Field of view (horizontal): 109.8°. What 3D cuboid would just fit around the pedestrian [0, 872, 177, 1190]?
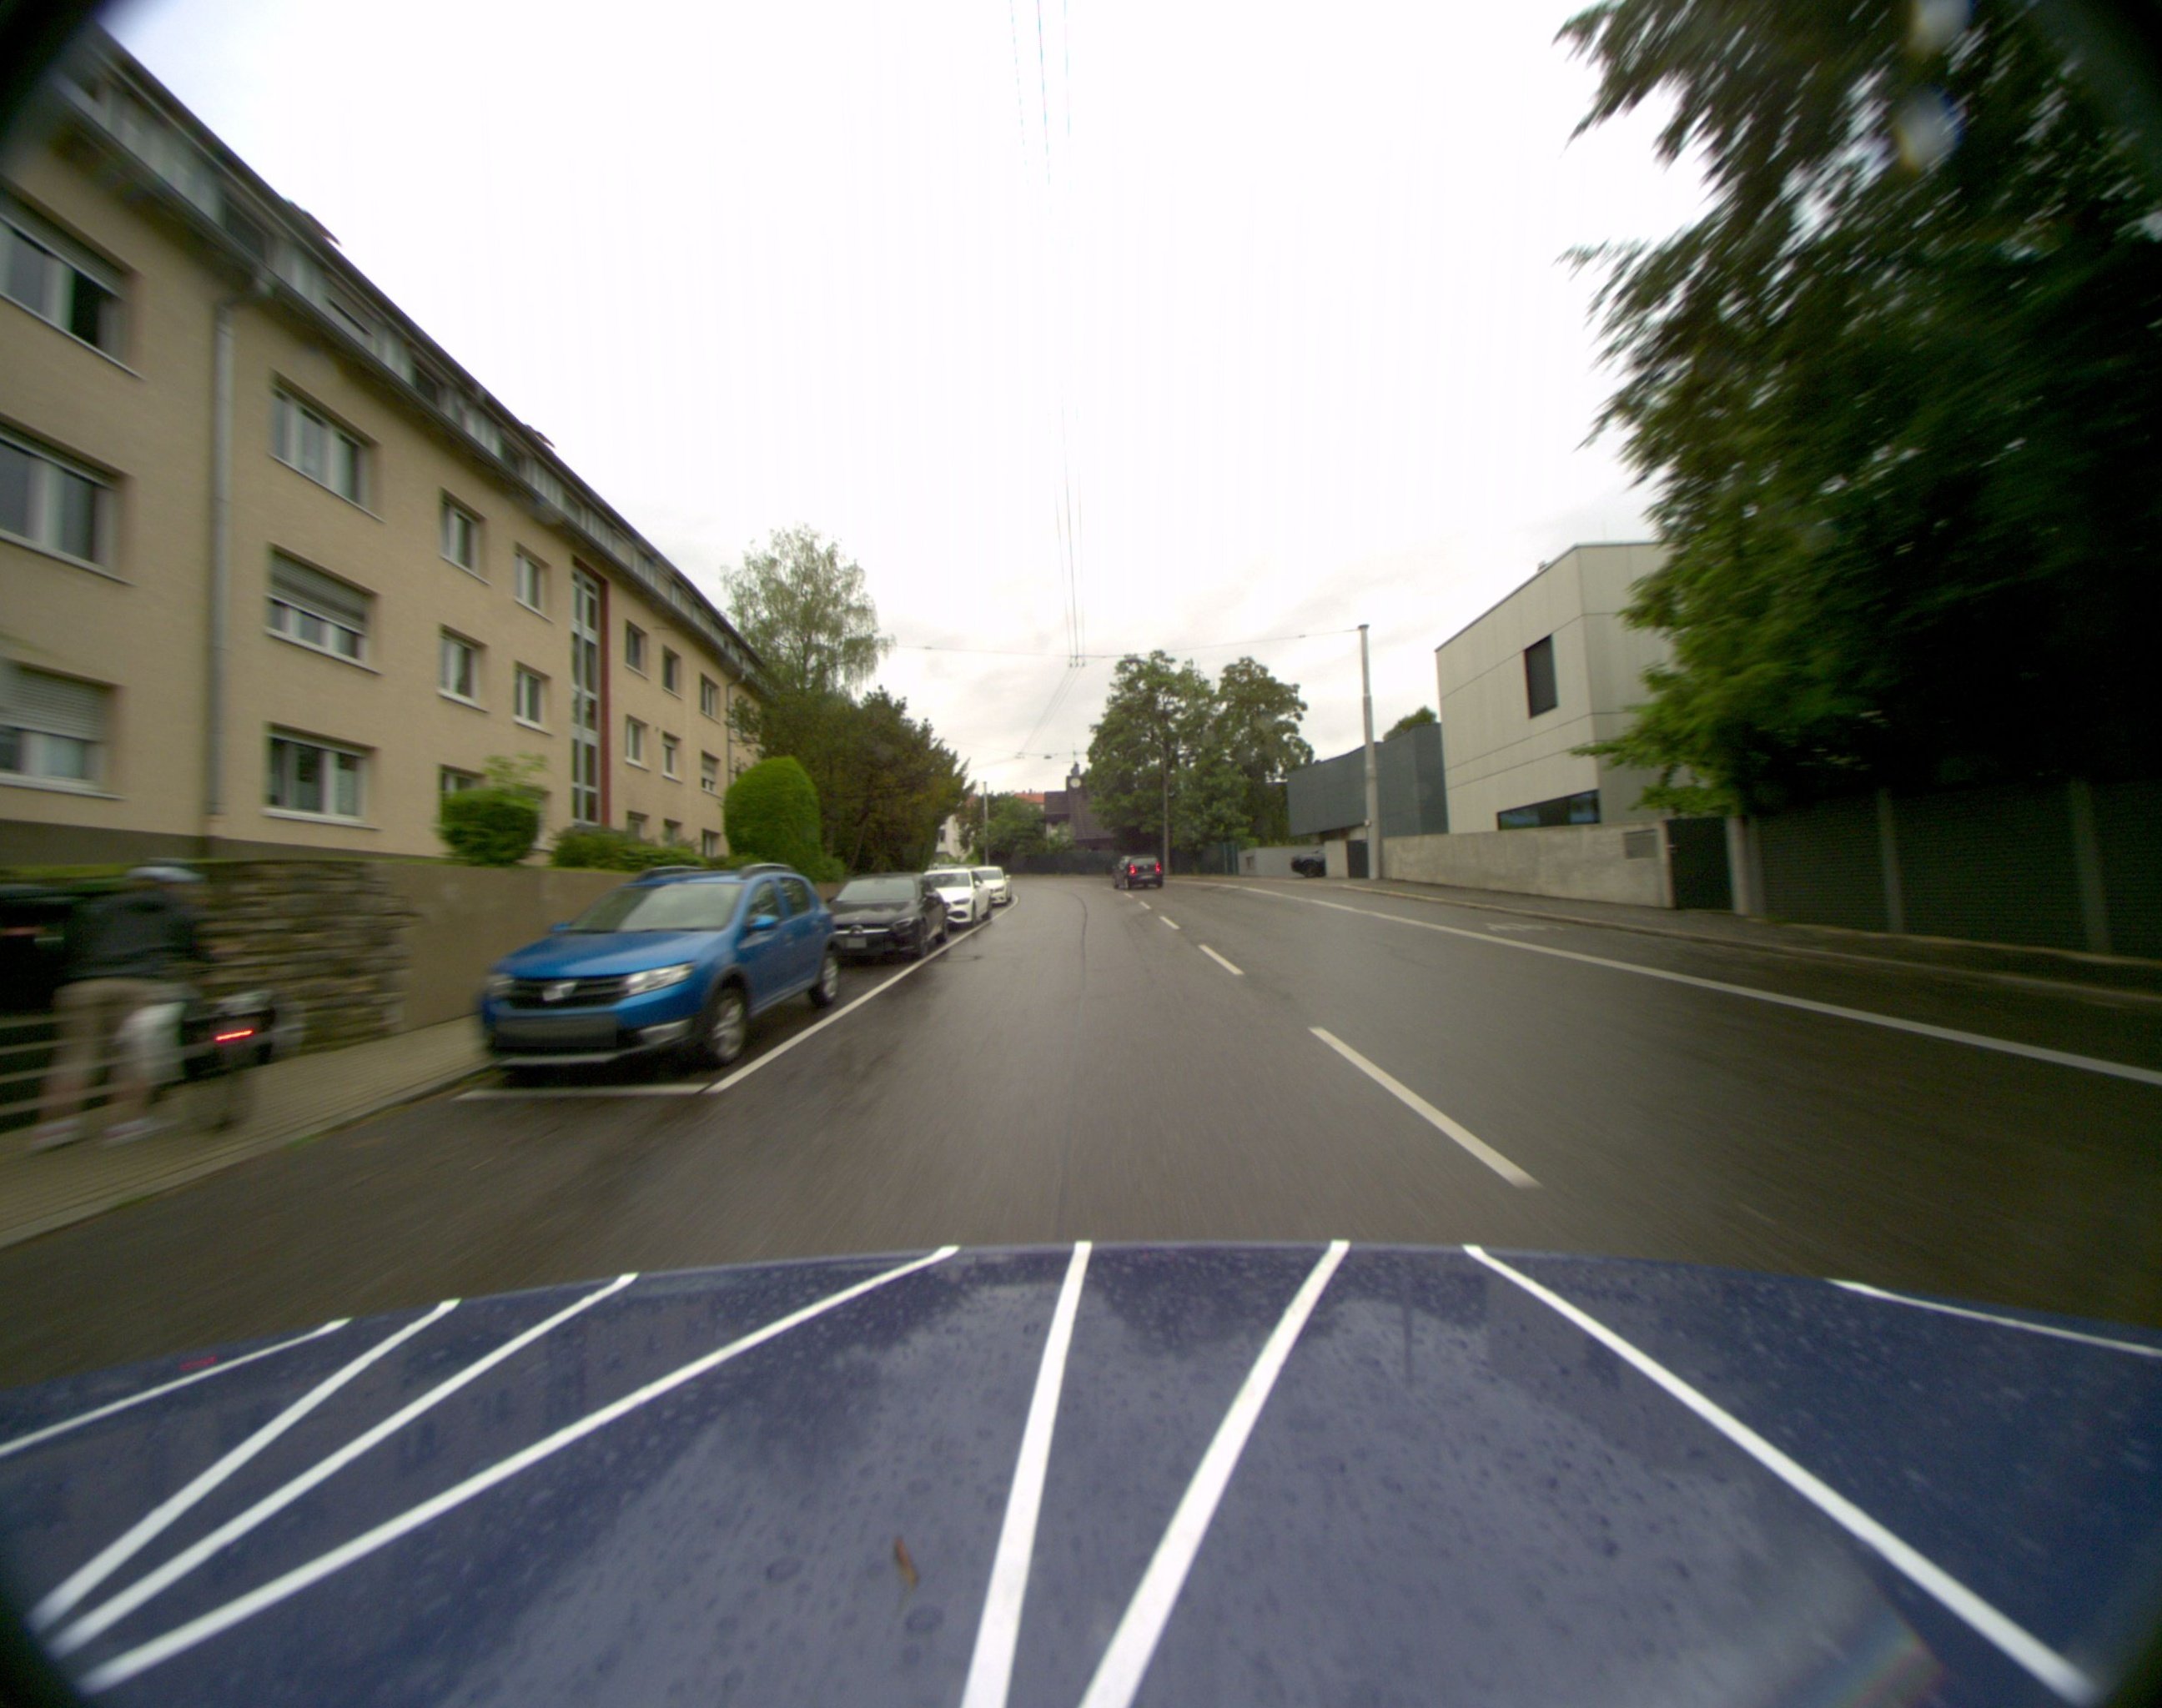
[{"bbox_3d":[-5.772,0.945,4.281,0.622,1.641,0.613,-4,1,-31],"label":"pedestrian"}]

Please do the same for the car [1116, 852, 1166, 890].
[{"bbox_3d":[2.633,0.711,34.121,1.654,1.412,3.800,-5,2,-4],"label":"car"}]

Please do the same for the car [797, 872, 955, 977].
[{"bbox_3d":[-3.425,1.111,13.509,1.693,1.447,4.253,-2,0,-1],"label":"car"}]

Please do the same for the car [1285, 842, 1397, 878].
[{"bbox_3d":[10.770,0.270,31.514,3.989,1.293,1.901,-3,0,34],"label":"car"}]

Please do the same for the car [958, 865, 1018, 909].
[{"bbox_3d":[-3.479,1.193,29.219,1.784,1.427,4.568,-4,0,-2],"label":"car"}]

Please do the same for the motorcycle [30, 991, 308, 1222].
[{"bbox_3d":[-5.071,1.330,4.336,0.537,0.851,1.377,-4,1,-30],"label":"motorcycle"}]

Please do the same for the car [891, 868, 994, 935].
[{"bbox_3d":[-3.419,1.130,19.567,1.812,1.447,4.254,-2,0,0],"label":"car"}]

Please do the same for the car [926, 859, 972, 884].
[{"bbox_3d":[-8.235,1.108,47.159,1.690,1.462,3.731,2,-2,-28],"label":"car"}]

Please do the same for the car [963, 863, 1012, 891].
[{"bbox_3d":[-4.798,1.113,38.356,1.814,1.340,4.614,0,-1,-15],"label":"car"}]

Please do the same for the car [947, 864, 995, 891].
[{"bbox_3d":[-6.301,1.271,43.191,1.815,1.427,4.523,0,-1,-20],"label":"car"}]

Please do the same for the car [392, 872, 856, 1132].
[{"bbox_3d":[-3.646,1.023,7.139,1.738,1.584,4.254,-2,0,0],"label":"car"}]
